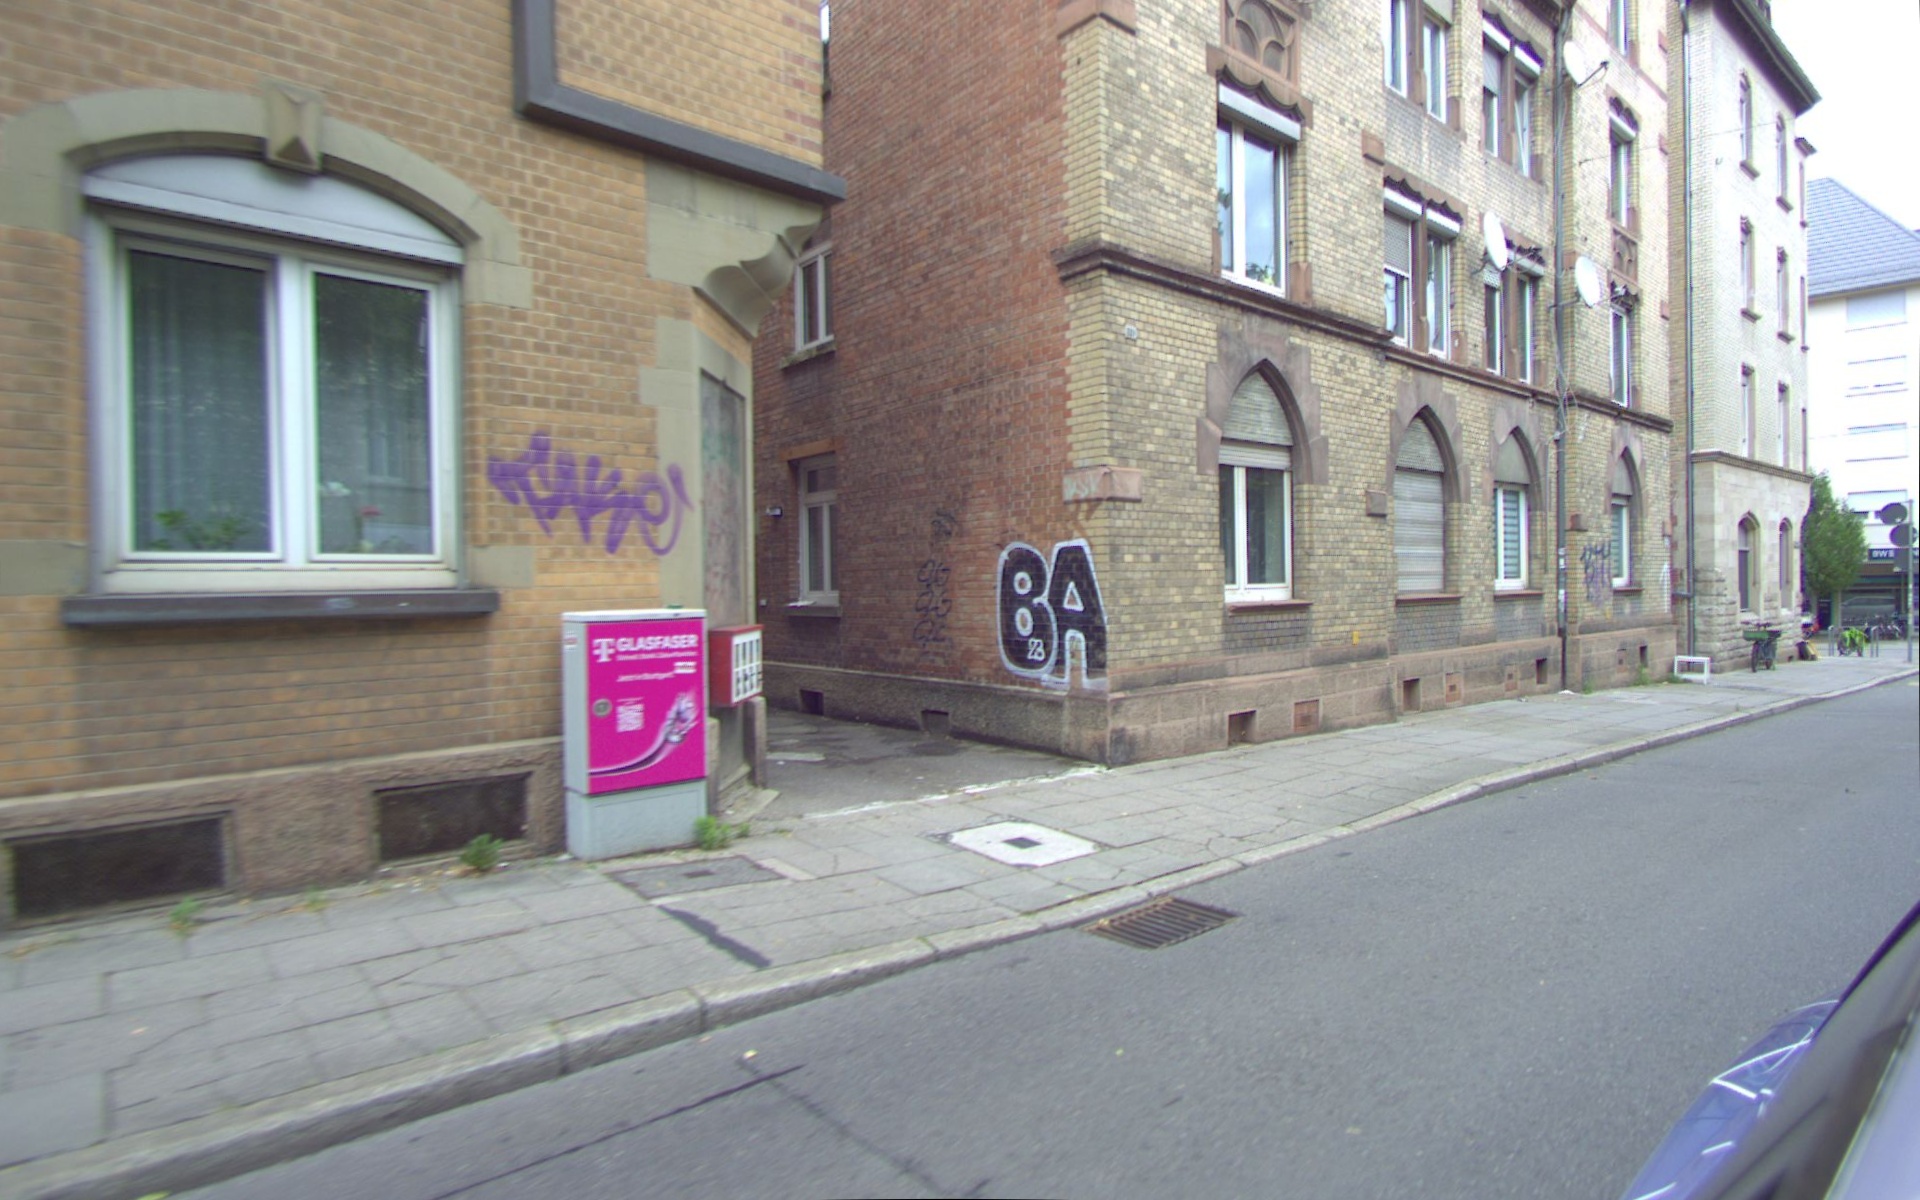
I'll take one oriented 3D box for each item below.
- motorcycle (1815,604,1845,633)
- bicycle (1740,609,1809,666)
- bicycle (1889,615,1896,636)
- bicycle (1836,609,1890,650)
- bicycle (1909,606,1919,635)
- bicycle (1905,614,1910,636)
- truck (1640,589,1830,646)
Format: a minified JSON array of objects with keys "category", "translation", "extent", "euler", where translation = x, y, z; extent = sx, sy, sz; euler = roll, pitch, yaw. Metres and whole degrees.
[{"category":"motorcycle","translation":[37.363,0.787,43.461],"extent":[1.895,1.211,0.591],"euler":[0,2,-38]},{"category":"bicycle","translation":[18.149,0.814,22.524],"extent":[2.438,1.164,0.683],"euler":[-1,0,-39]},{"category":"bicycle","translation":[40.205,1.089,43.647],"extent":[0.184,0.919,1.217],"euler":[-2,-2,44]},{"category":"bicycle","translation":[26.354,0.865,29.520],"extent":[2.886,1.164,0.683],"euler":[2,-2,-39]},{"category":"bicycle","translation":[40.766,0.884,43.121],"extent":[0.399,1.220,1.264],"euler":[-3,-2,44]},{"category":"bicycle","translation":[39.834,1.039,42.525],"extent":[0.120,0.919,1.264],"euler":[-2,-2,44]},{"category":"truck","translation":[31.287,0.765,41.009],"extent":[5.841,2.134,2.512],"euler":[-2,-4,45]}]
